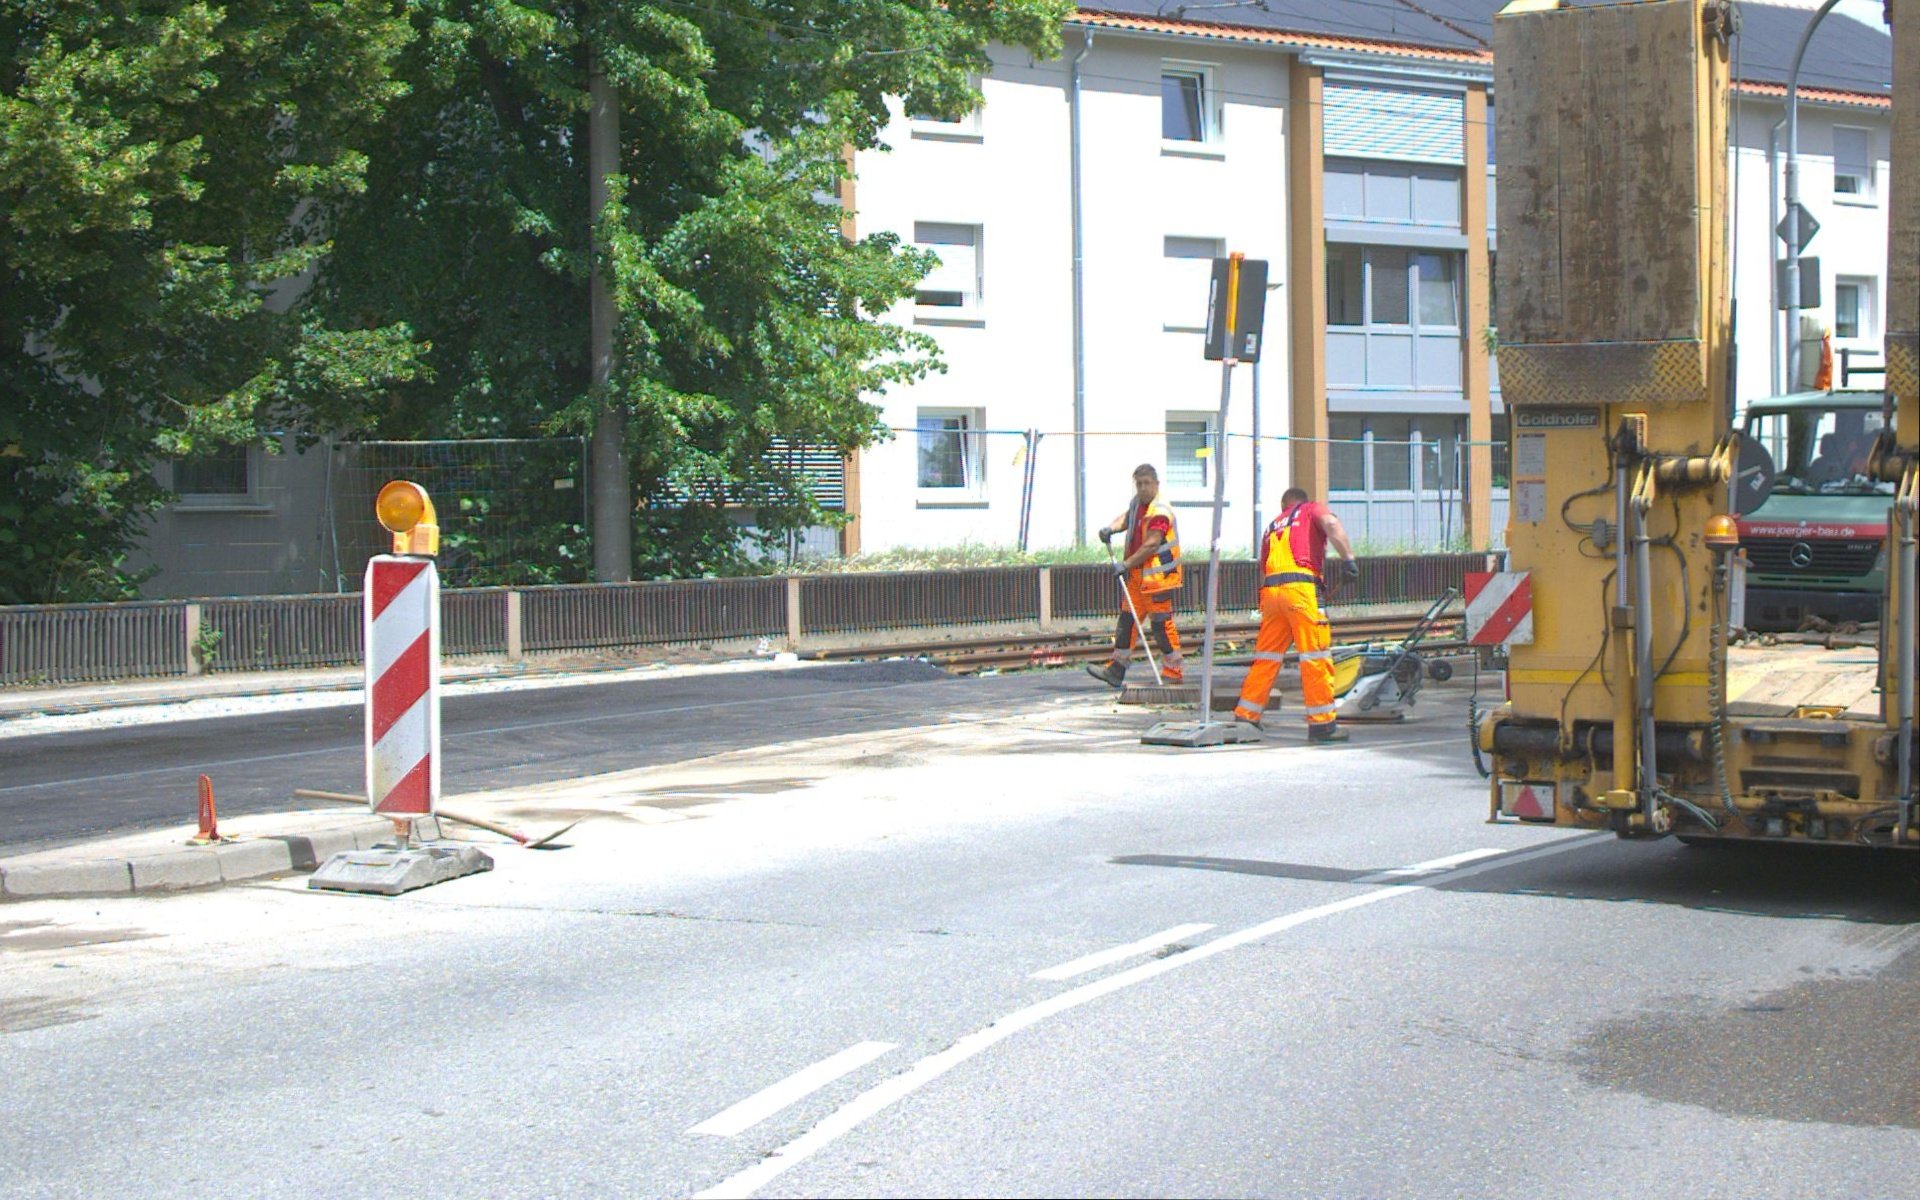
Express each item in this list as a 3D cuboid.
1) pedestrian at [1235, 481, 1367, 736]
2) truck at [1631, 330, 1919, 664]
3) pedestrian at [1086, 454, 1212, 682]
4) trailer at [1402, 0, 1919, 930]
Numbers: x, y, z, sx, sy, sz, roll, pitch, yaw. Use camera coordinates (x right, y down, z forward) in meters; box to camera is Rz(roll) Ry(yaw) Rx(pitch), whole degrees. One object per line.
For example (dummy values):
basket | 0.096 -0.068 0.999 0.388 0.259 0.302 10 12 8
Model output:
pedestrian | 2.117 0.035 21.451 0.762 1.546 0.901 0 3 3
truck | 8.916 -0.988 31.191 2.669 2.715 6.380 3 4 41
pedestrian | 1.413 -0.238 25.611 0.705 1.662 0.827 1 0 20
trailer | 5.829 -0.757 17.374 2.828 3.511 11.033 3 3 31
